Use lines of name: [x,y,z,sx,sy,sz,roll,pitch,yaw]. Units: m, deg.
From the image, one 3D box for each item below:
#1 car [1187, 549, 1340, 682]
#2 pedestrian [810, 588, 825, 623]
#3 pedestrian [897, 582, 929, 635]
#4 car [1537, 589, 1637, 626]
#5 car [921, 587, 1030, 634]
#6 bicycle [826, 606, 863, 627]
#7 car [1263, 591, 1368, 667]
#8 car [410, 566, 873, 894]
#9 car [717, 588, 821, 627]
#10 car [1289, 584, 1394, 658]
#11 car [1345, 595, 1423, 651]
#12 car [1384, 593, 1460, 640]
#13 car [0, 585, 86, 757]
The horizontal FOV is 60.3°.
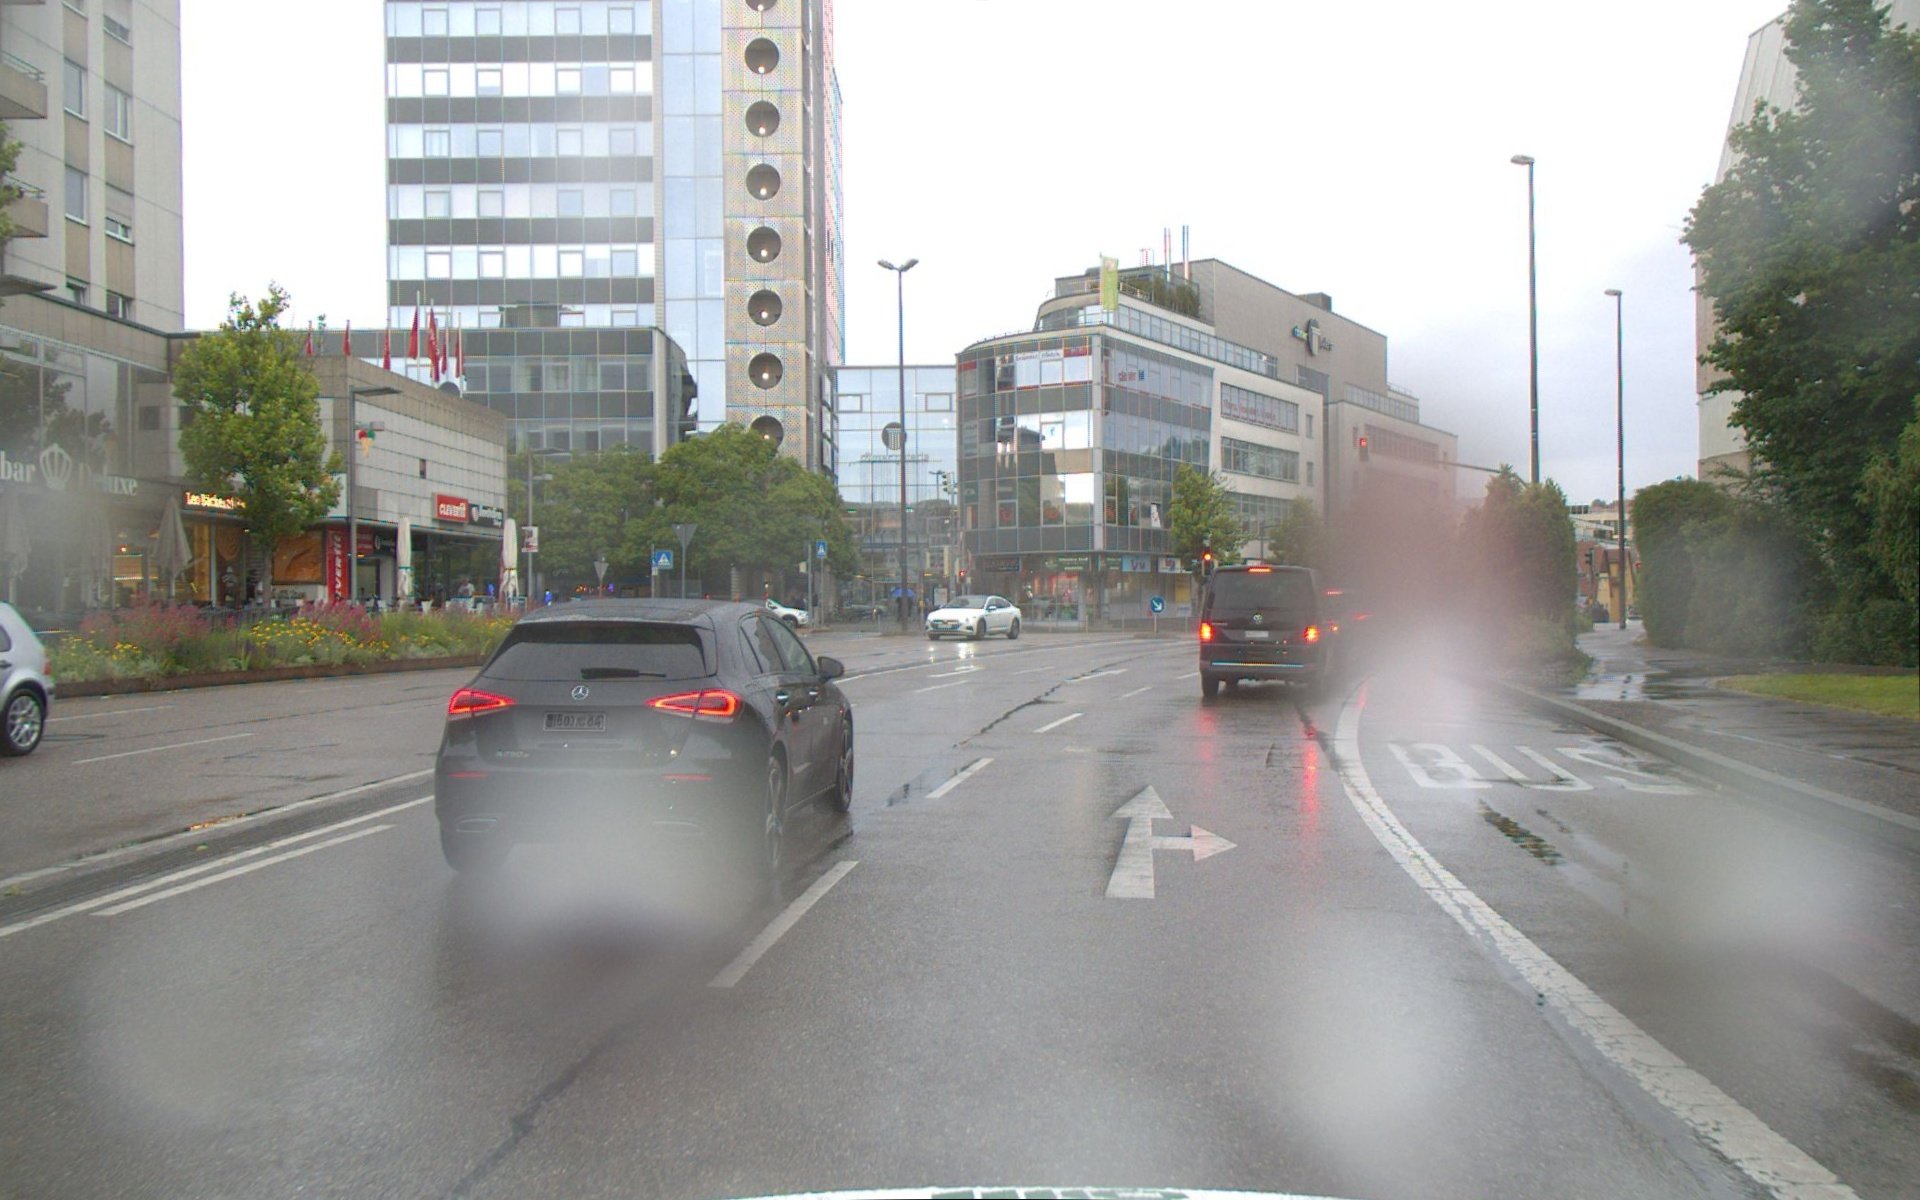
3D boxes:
car: [4.920,0.234,26.324,1.953,1.927,4.590,0,0,16]
pedestrian: [-8.236,0.304,95.738,0.751,2.049,0.710,0,0,-19]
pedestrian: [-1.857,0.325,65.132,1.140,2.049,1.326,0,0,-6]
car: [29.894,0.370,78.861,4.428,1.712,1.879,0,0,-22]
car: [0.576,0.327,54.557,1.805,1.486,4.806,0,0,24]
bicycle: [-7.133,1.033,102.093,2.227,1.268,0.676,-1,-1,-1]
car: [7.197,0.540,33.219,1.597,1.410,4.517,0,0,18]
car: [-1.664,0.599,9.968,1.777,1.556,3.815,1,1,4]
car: [-8.180,0.309,70.966,4.103,1.623,1.871,0,0,7]
car: [9.218,0.469,39.714,1.862,1.649,4.335,0,0,21]
car: [11.878,0.616,46.153,1.600,1.473,4.268,1,0,21]
car: [14.551,0.499,51.972,1.873,1.425,3.456,-1,0,23]
car: [-9.176,0.630,13.660,1.665,1.492,4.104,-1,0,1]
